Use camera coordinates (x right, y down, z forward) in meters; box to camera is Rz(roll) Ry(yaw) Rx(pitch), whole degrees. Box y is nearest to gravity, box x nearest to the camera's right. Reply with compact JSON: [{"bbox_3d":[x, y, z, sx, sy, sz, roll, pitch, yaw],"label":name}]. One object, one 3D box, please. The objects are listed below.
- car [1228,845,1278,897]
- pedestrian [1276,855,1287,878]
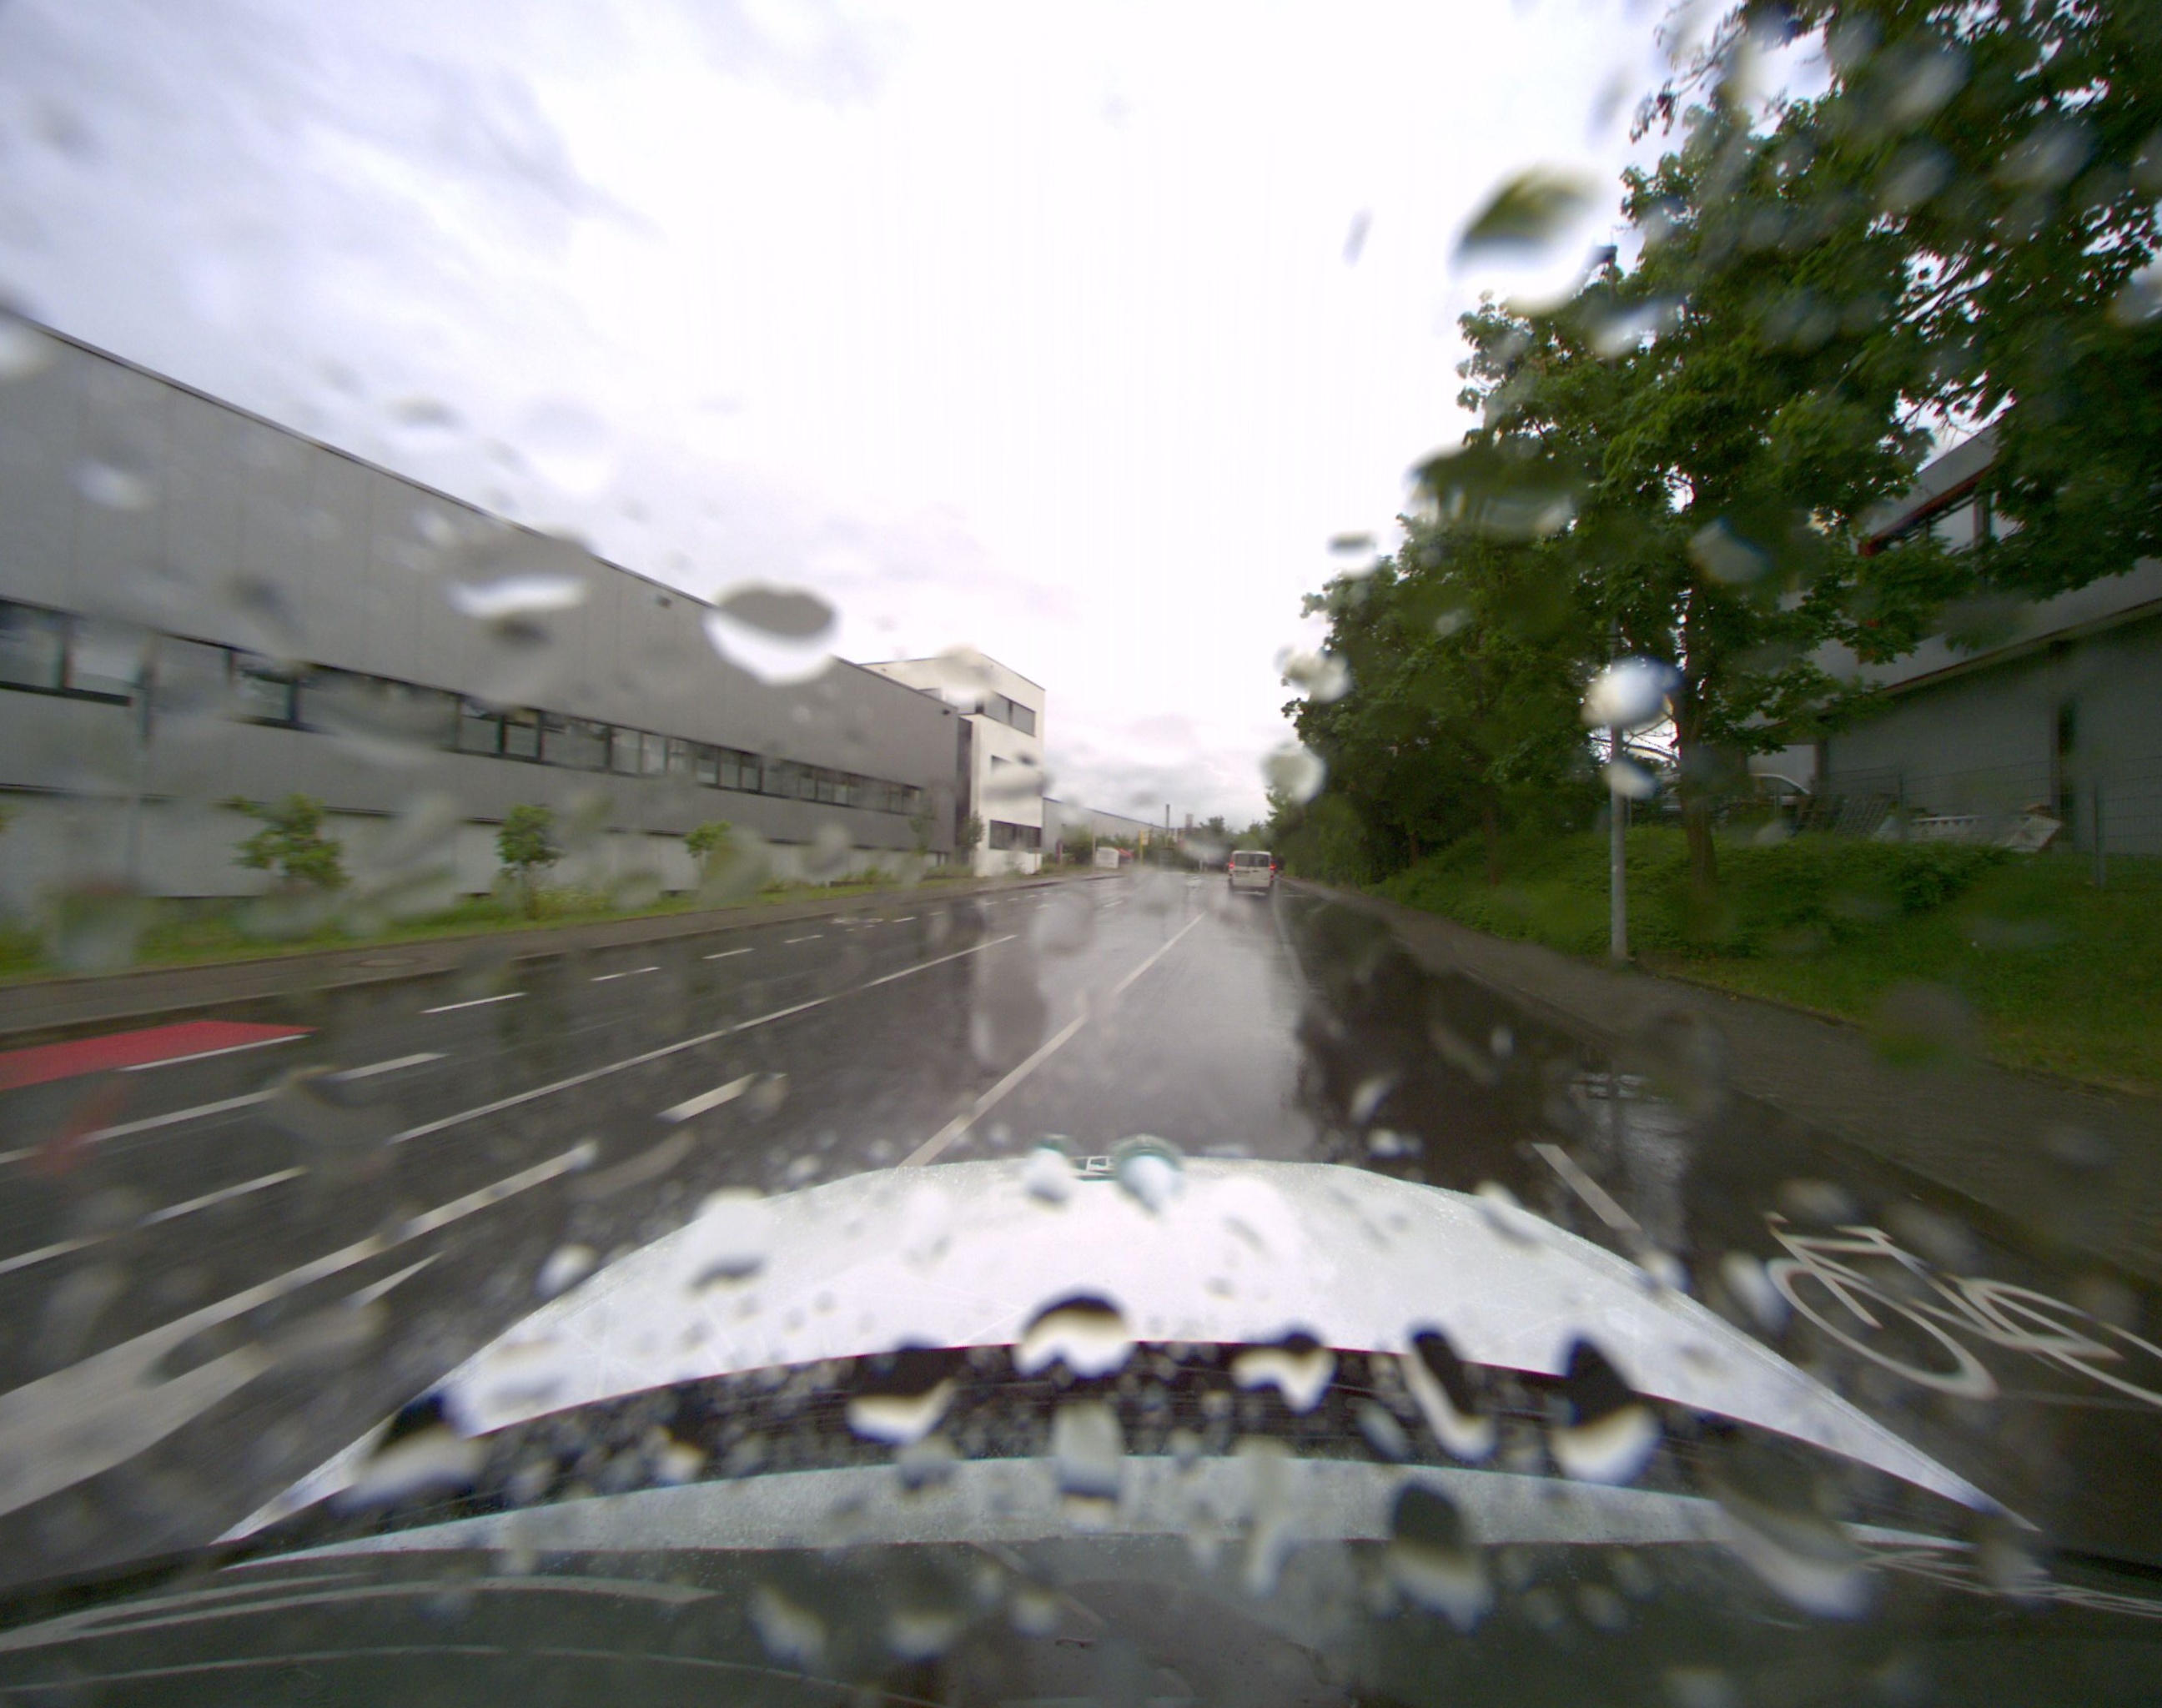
[{"bbox_3d":[7.401,0.699,34.916,1.886,2.018,5.390,-1,-1,12],"label":"car"},{"bbox_3d":[16.832,1.063,68.368,0.772,1.907,0.730,-2,-2,11],"label":"pedestrian"}]
